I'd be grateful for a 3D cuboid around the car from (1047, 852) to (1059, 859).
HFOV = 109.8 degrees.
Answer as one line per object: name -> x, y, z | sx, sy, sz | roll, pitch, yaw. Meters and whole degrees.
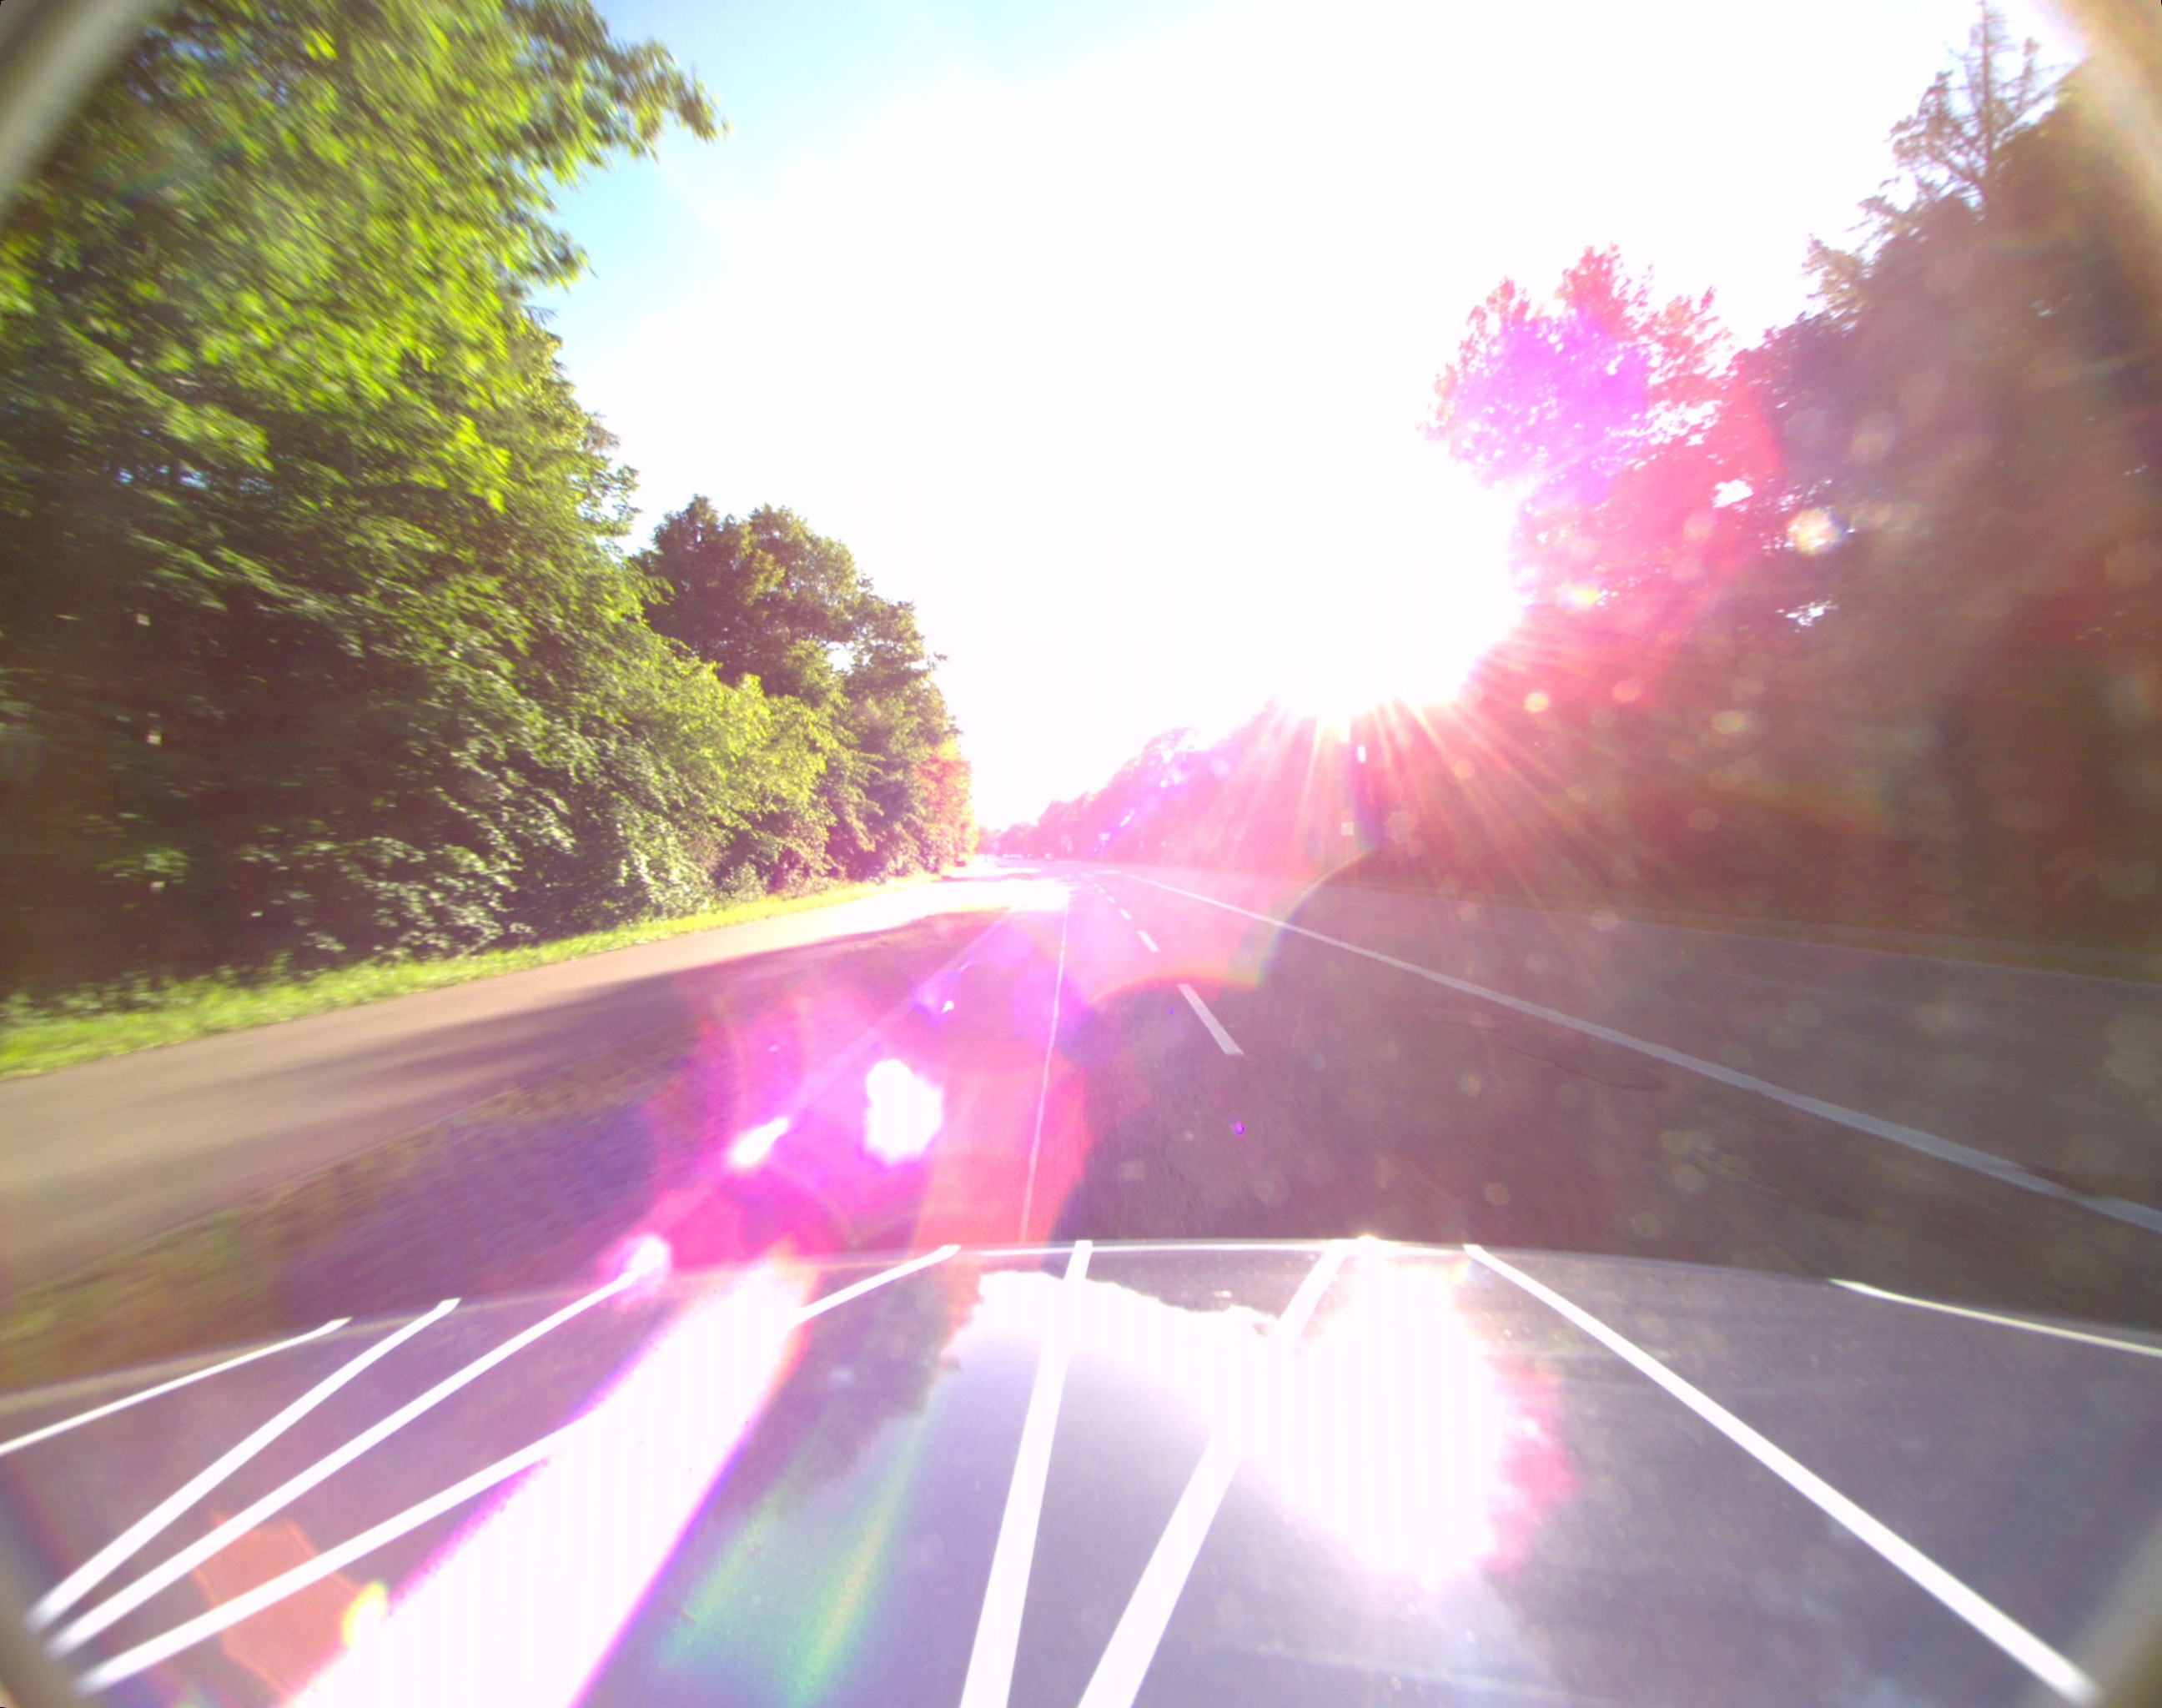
car -> -6.355, 0.259, 171.989 | 1.745, 1.449, 3.994 | -3, 0, -13
